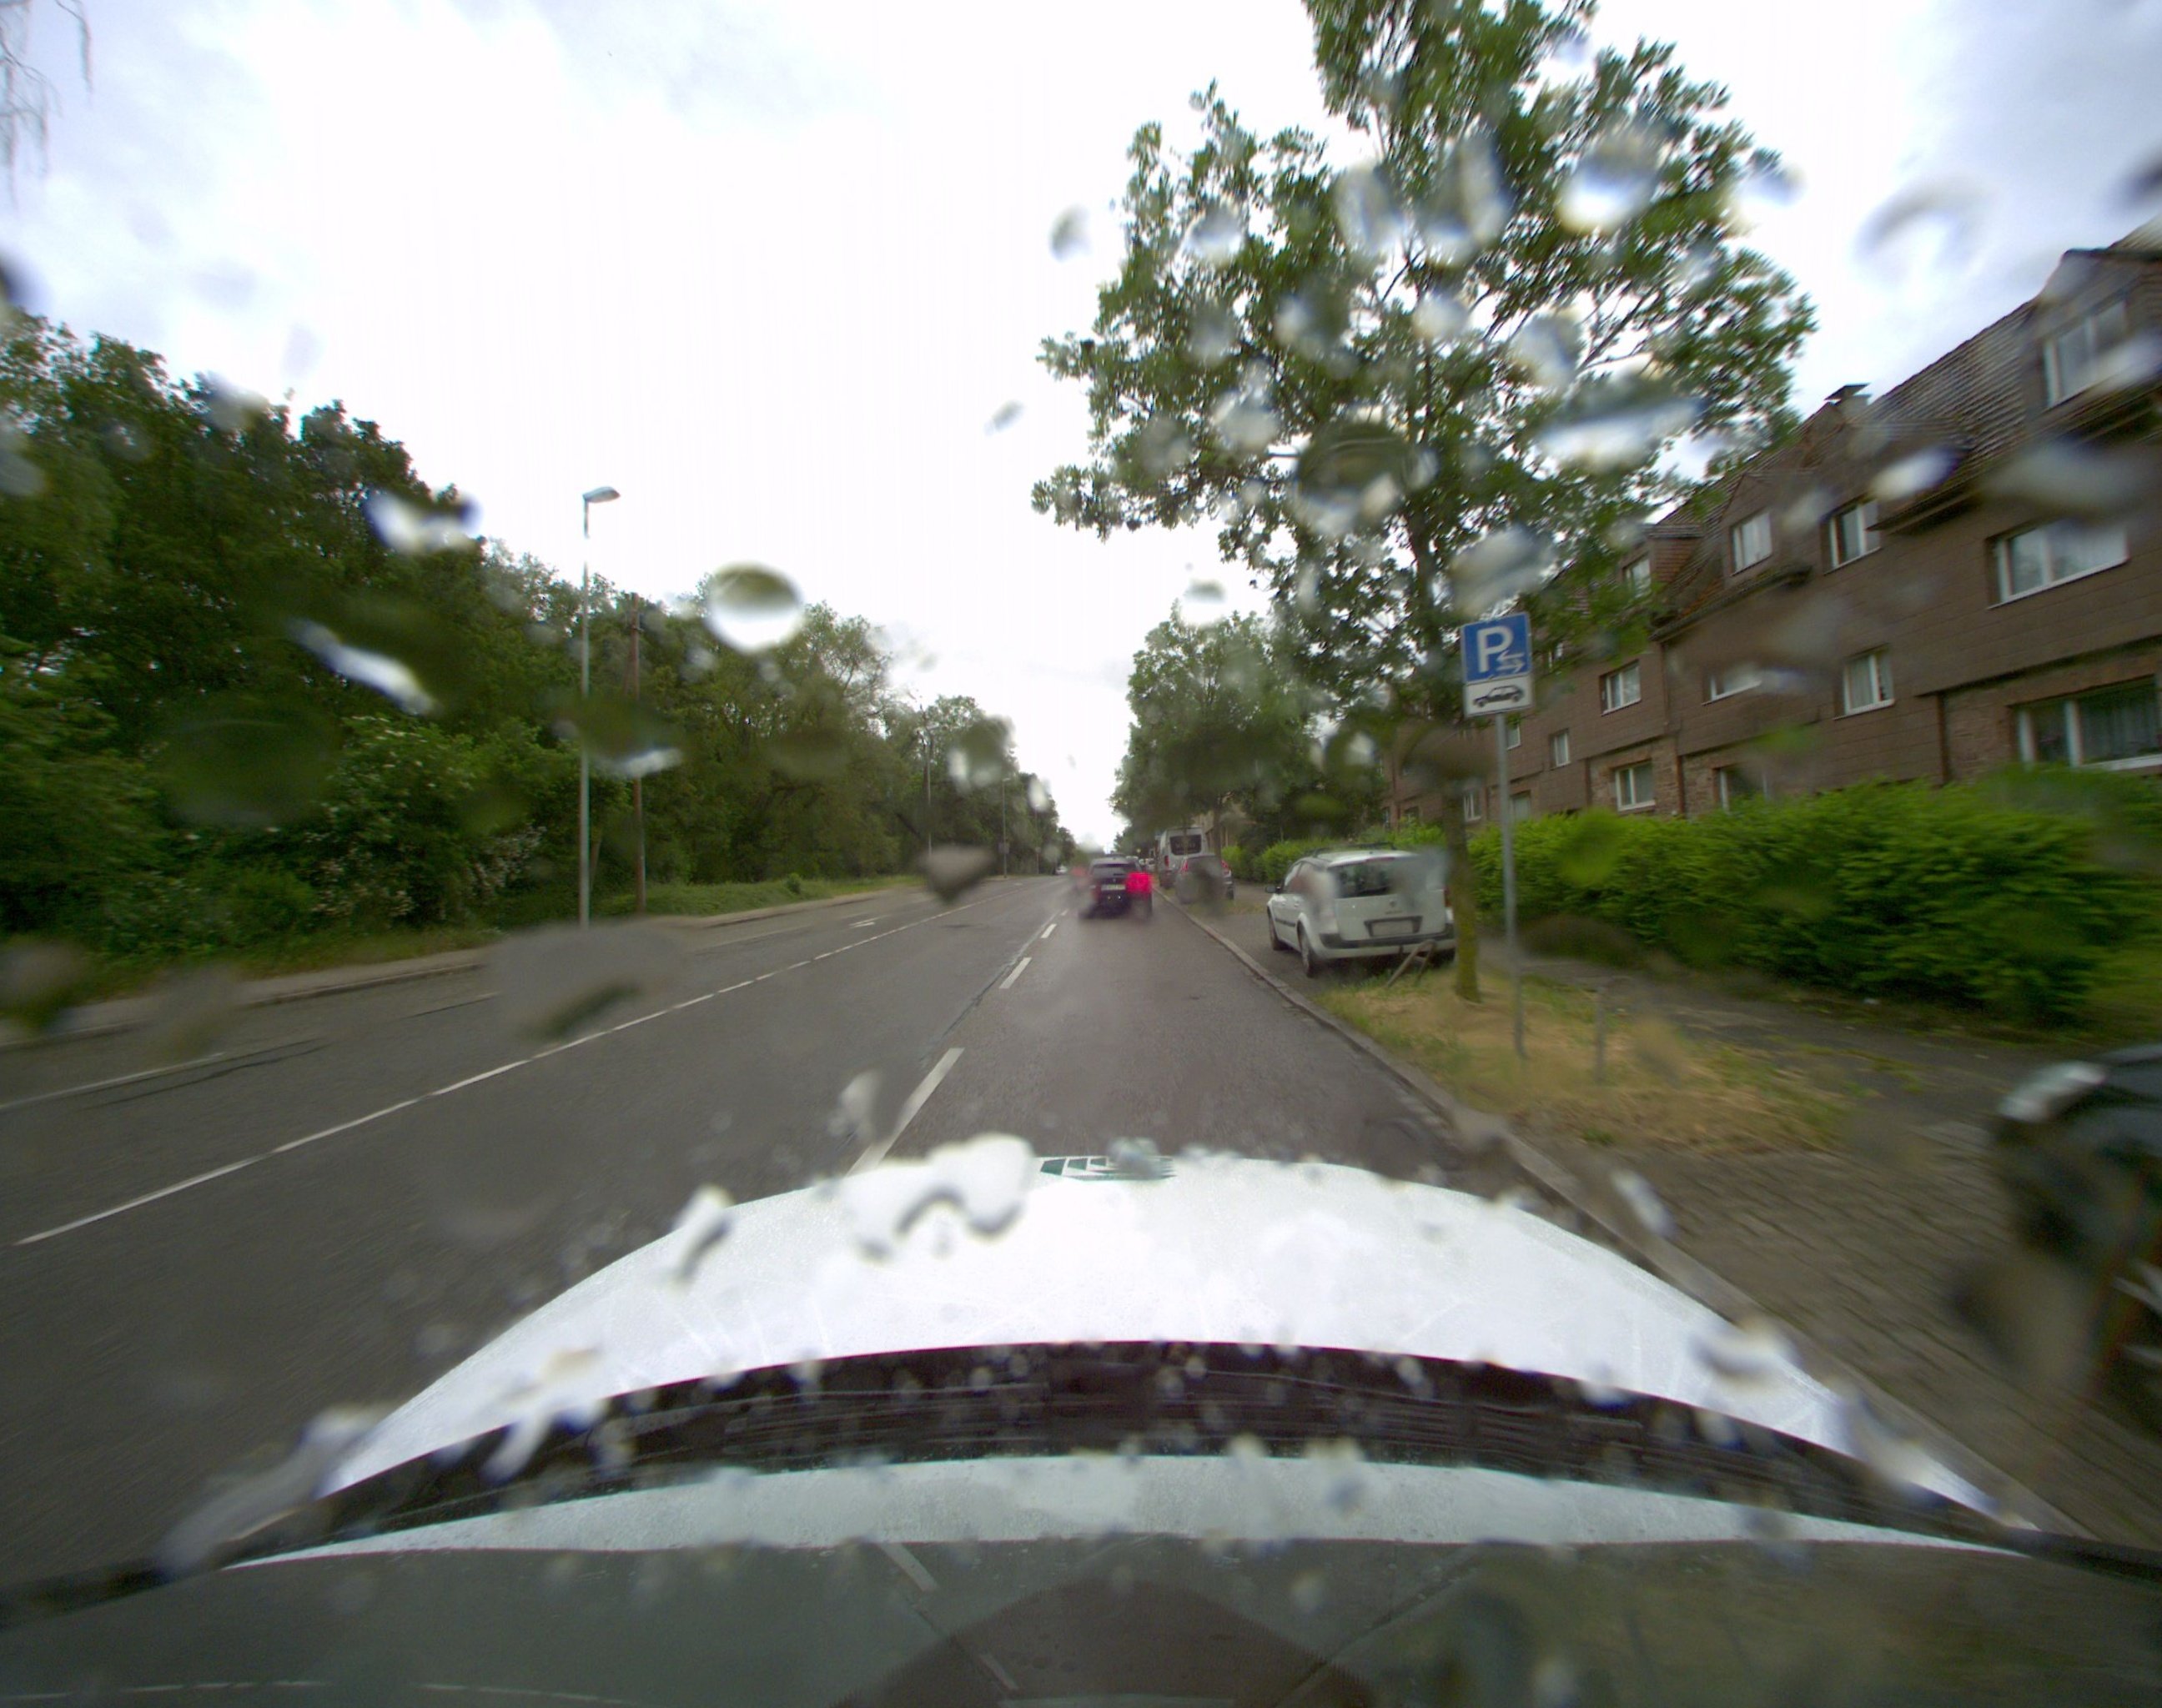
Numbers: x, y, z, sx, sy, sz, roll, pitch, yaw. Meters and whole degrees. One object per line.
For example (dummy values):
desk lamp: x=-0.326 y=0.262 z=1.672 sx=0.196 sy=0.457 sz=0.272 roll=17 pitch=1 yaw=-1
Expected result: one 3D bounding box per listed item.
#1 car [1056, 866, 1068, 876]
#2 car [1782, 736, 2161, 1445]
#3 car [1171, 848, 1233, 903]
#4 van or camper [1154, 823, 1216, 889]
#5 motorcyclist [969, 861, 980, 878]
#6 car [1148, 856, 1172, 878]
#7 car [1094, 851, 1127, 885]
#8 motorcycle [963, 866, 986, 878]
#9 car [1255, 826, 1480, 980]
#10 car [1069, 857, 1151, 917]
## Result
car: x=-3.017 y=2.775 z=130.177 sx=1.684 sy=1.483 sz=4.452 roll=-4 pitch=-1 yaw=1
car: x=3.377 y=0.509 z=0.588 sx=1.817 sy=1.677 sz=4.586 roll=-4 pitch=0 yaw=2
car: x=3.854 y=0.656 z=26.409 sx=1.661 sy=1.528 sz=3.837 roll=-5 pitch=-1 yaw=5
van or camper: x=4.716 y=0.073 z=38.037 sx=2.188 sy=2.651 sz=7.307 roll=-4 pitch=0 yaw=3
motorcyclist: x=-10.250 y=1.471 z=78.184 sx=0.643 sy=1.681 sz=0.818 roll=-1 pitch=0 yaw=29
car: x=6.376 y=1.036 z=66.089 sx=1.694 sy=1.584 sz=4.647 roll=-5 pitch=0 yaw=4
car: x=1.930 y=0.887 z=52.230 sx=1.985 sy=2.014 sz=4.003 roll=-1 pitch=-1 yaw=3
motorcycle: x=-10.234 y=1.762 z=78.176 sx=2.161 sy=1.118 sz=0.829 roll=-1 pitch=0 yaw=30
car: x=3.635 y=0.544 z=11.226 sx=1.815 sy=1.602 sz=4.480 roll=-4 pitch=0 yaw=5
car: x=0.771 y=0.829 z=21.930 sx=1.986 sy=1.453 sz=4.001 roll=1 pitch=-1 yaw=1
